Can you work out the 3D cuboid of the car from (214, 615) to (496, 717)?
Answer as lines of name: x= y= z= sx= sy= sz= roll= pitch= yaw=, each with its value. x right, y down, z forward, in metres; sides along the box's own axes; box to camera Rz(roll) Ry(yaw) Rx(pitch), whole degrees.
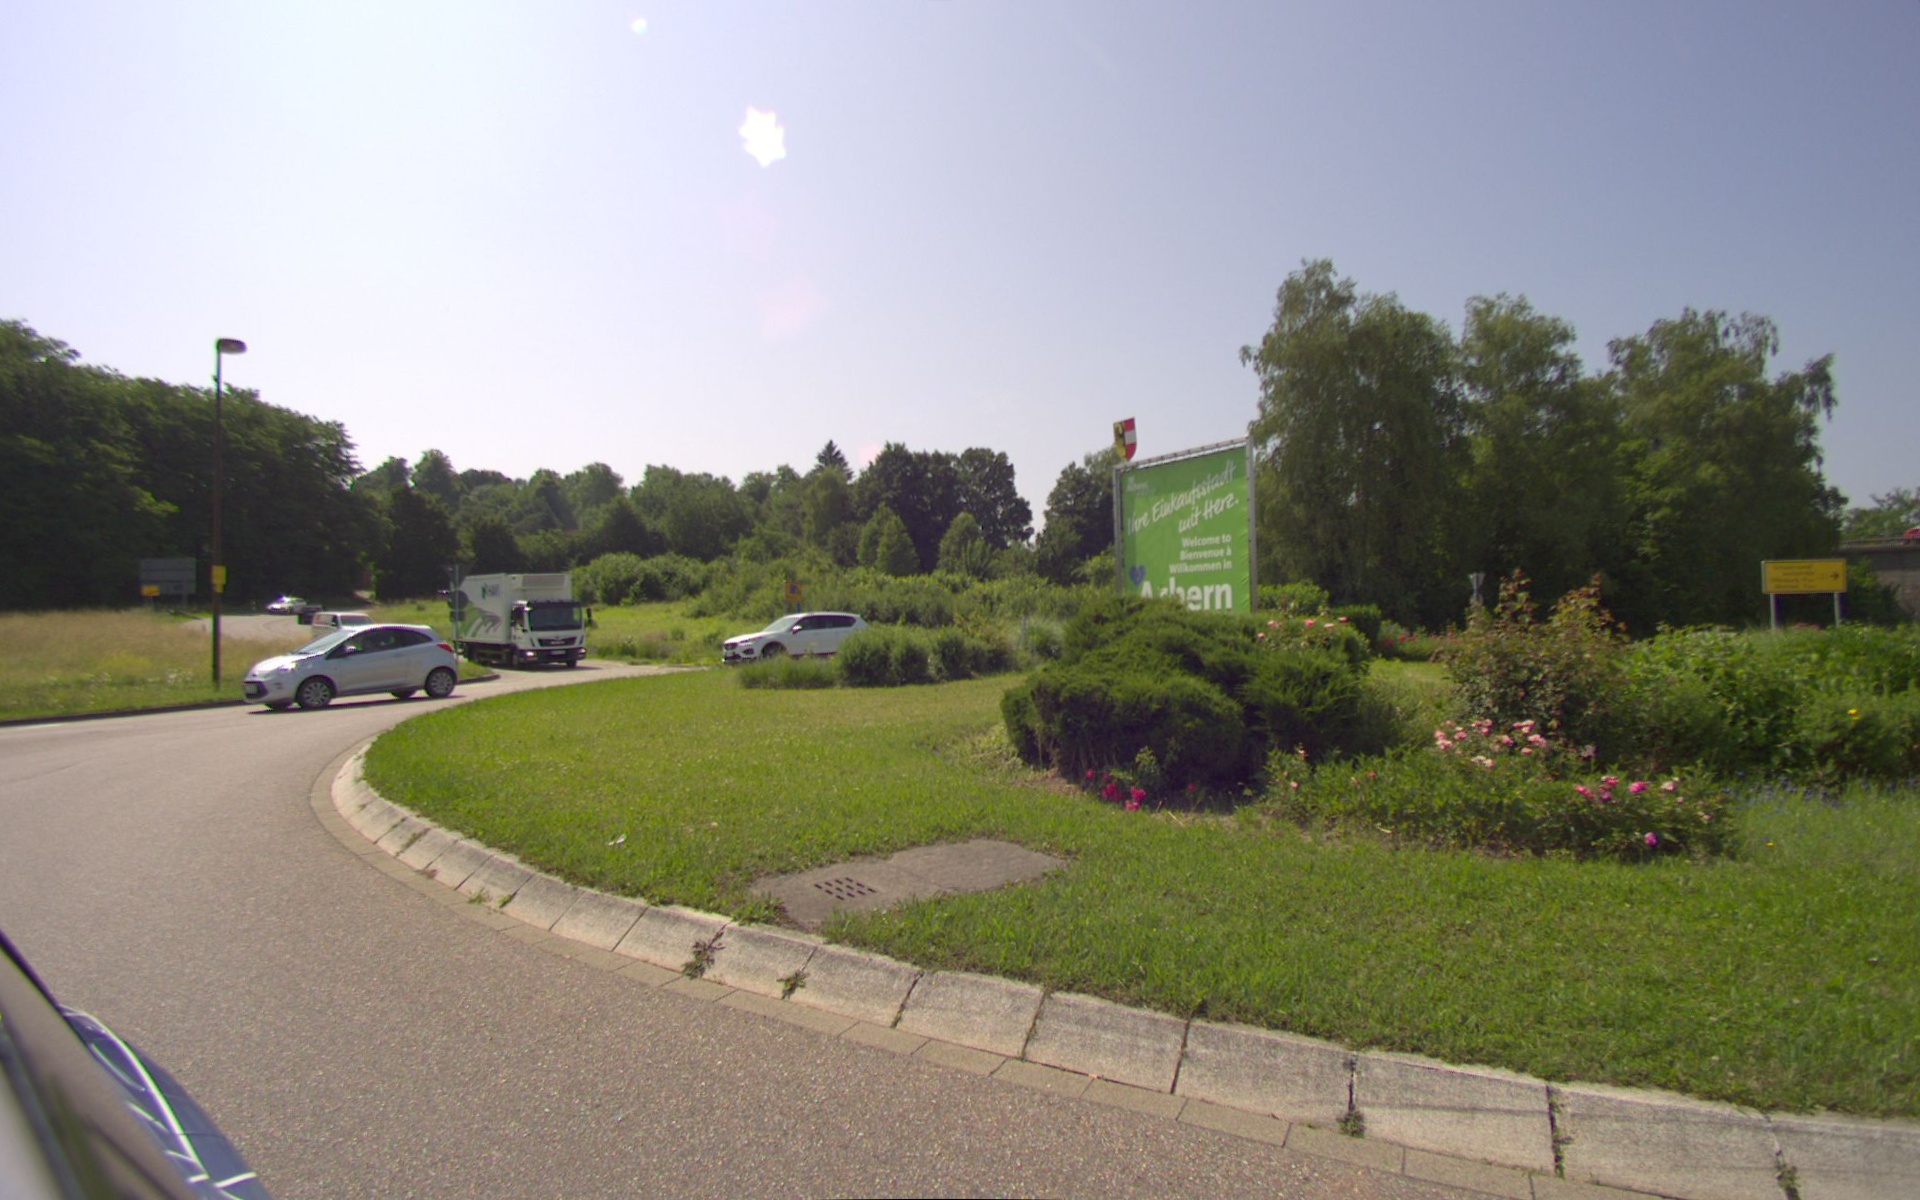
car: x=-11.536 y=1.215 z=19.534 sx=2.124 sy=1.628 sz=4.149 roll=-5 pitch=-2 yaw=35

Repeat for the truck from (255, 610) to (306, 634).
truck: x=-60.313 y=1.902 z=89.925 sx=2.322 sy=2.029 sz=5.457 roll=-1 pitch=0 yaw=-18

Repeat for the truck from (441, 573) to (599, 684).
truck: x=-17.411 y=1.038 z=39.616 sx=2.856 sy=3.858 sz=9.034 roll=-1 pitch=0 yaw=-42

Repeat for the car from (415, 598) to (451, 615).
car: x=-56.666 y=0.697 z=108.871 sx=1.884 sy=1.607 sz=4.378 roll=0 pitch=-3 yaw=-5

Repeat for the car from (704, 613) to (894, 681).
car: x=-4.626 y=1.305 z=29.523 sx=5.040 sy=1.665 sz=2.201 roll=-2 pitch=-1 yaw=-40

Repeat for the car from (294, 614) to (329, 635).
car: x=-51.027 y=1.952 z=79.665 sx=1.727 sy=1.542 sz=4.226 roll=2 pitch=-4 yaw=-25

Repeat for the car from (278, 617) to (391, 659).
car: x=-32.674 y=1.976 z=52.885 sx=5.560 sy=2.029 sz=1.987 roll=-1 pitch=0 yaw=20
